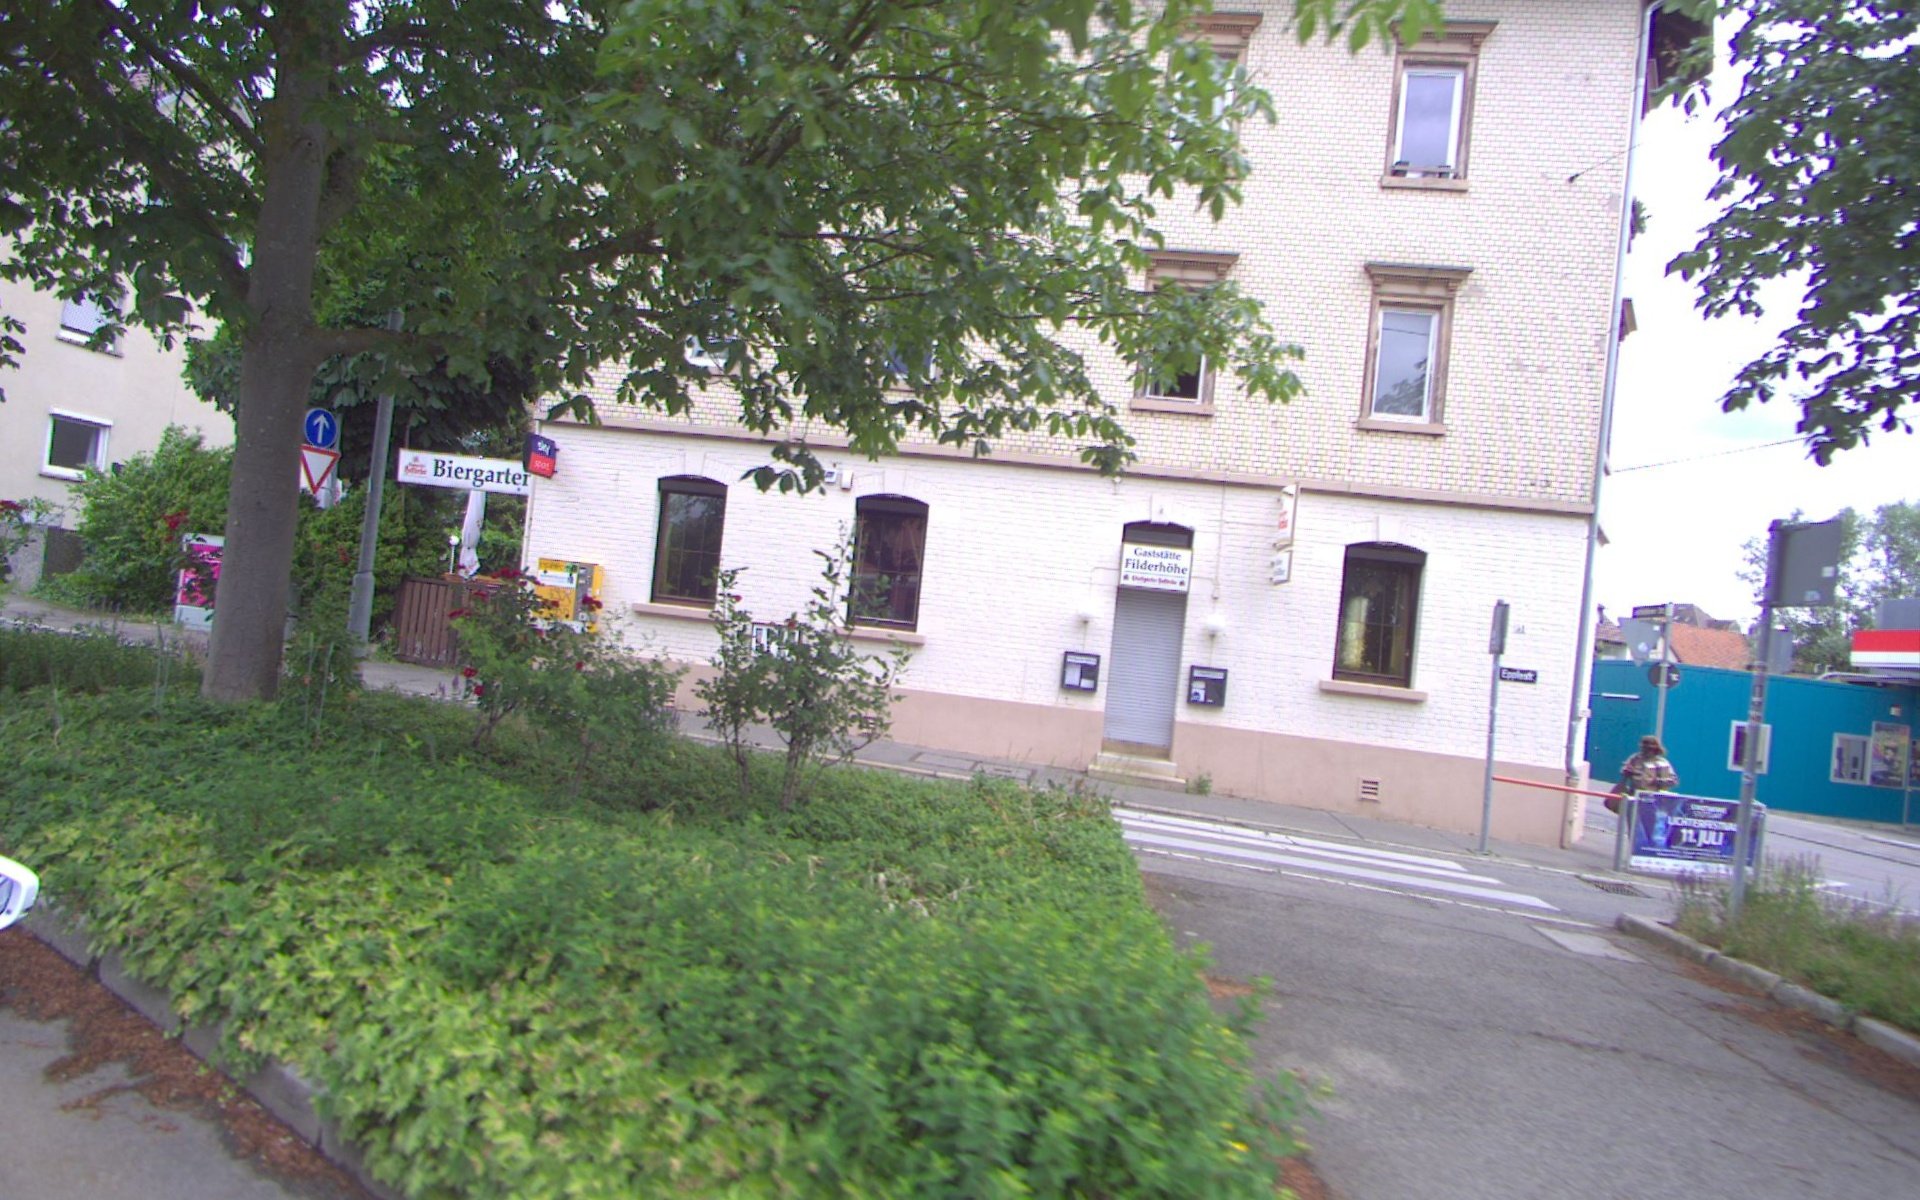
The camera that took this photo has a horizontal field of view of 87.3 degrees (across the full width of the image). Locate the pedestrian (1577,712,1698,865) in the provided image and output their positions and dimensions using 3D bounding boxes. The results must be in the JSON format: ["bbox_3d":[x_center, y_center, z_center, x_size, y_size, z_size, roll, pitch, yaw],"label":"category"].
[{"bbox_3d":[8.695,2.414,12.914,1.015,1.751,0.851,11,-2,-39],"label":"pedestrian"}]
